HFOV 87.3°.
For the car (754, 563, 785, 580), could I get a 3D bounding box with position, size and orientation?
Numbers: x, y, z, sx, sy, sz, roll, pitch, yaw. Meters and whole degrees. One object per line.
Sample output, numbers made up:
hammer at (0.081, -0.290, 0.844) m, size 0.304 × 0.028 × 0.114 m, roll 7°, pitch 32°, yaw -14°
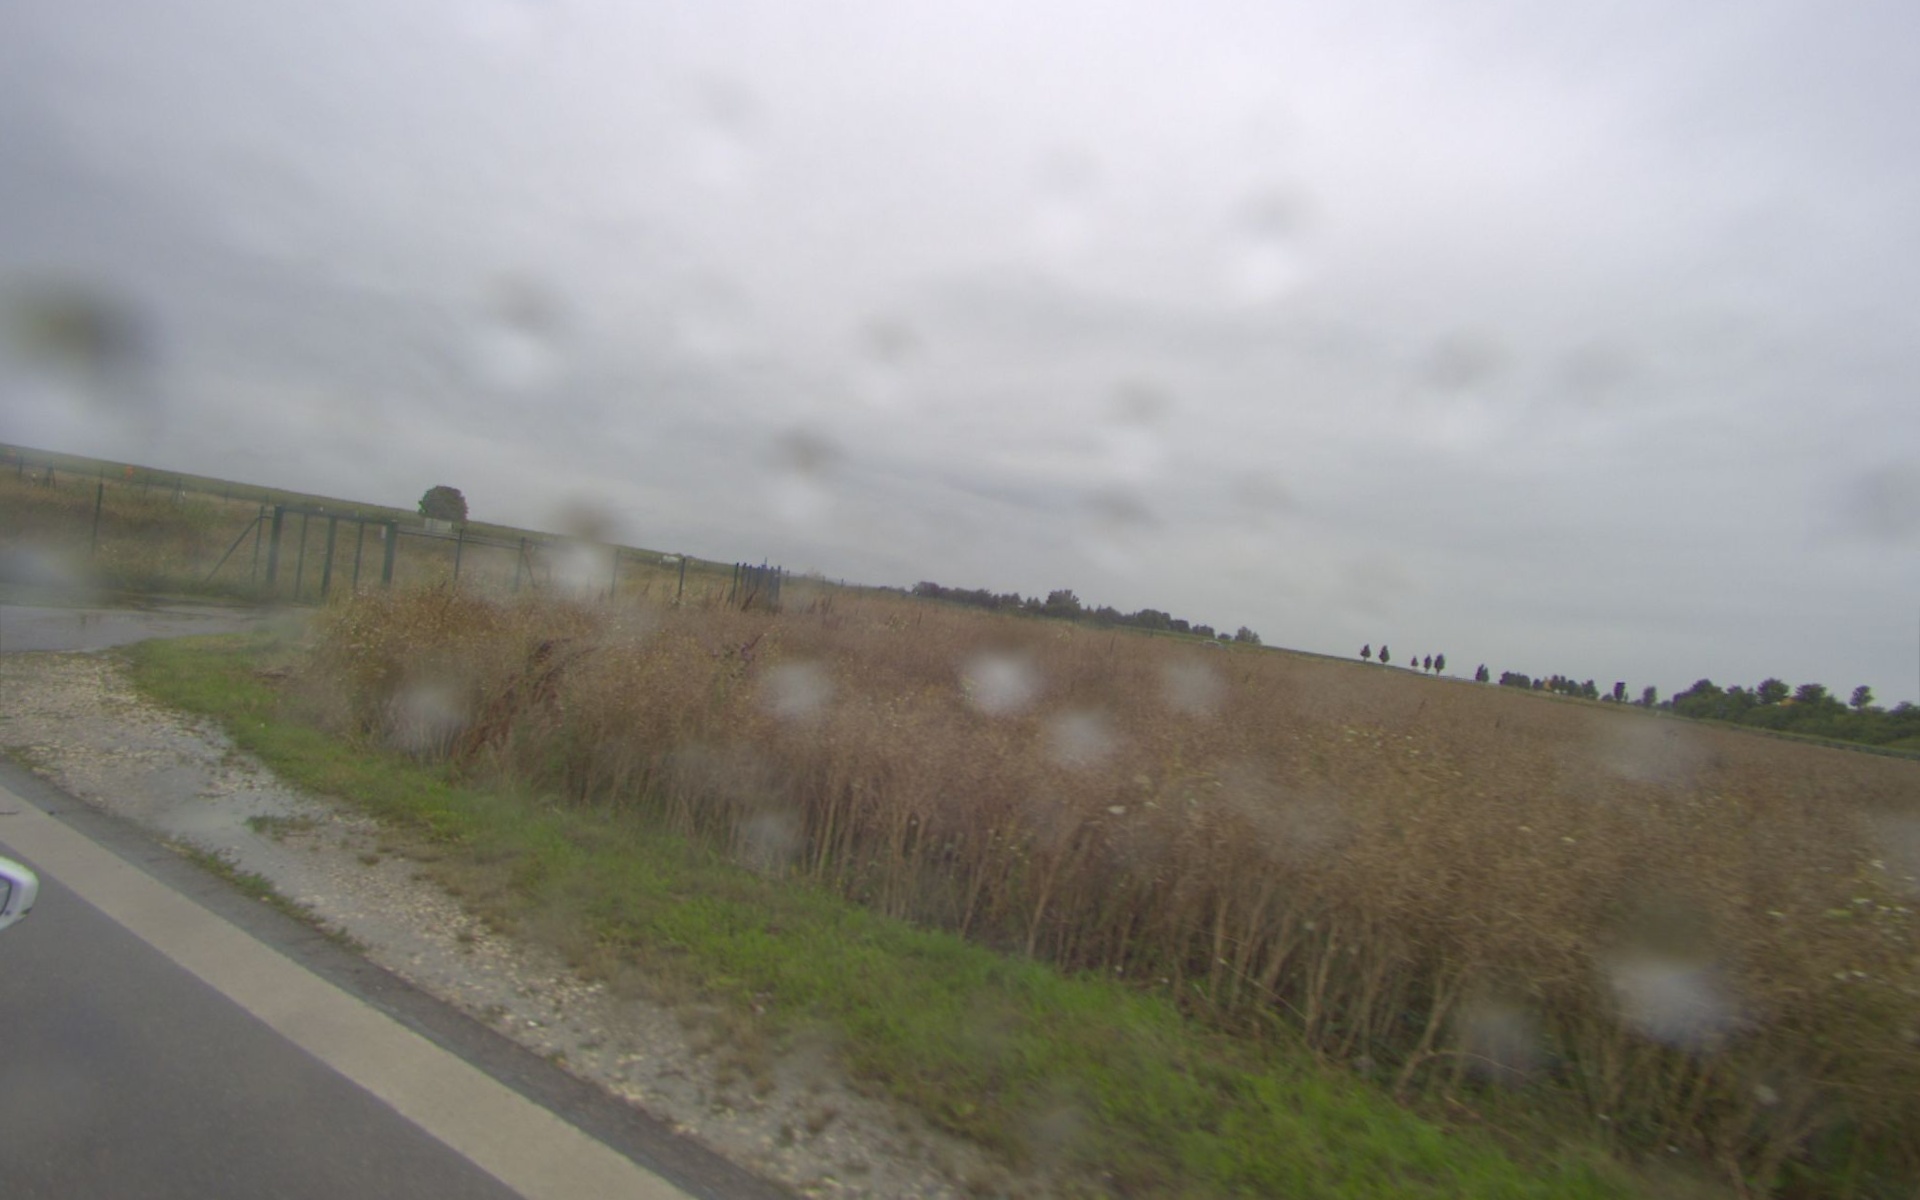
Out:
car at (-26.375, -3.965, 139.421) m, size 3.935 × 1.759 × 1.730 m, roll 8°, pitch 2°, yaw -11°
